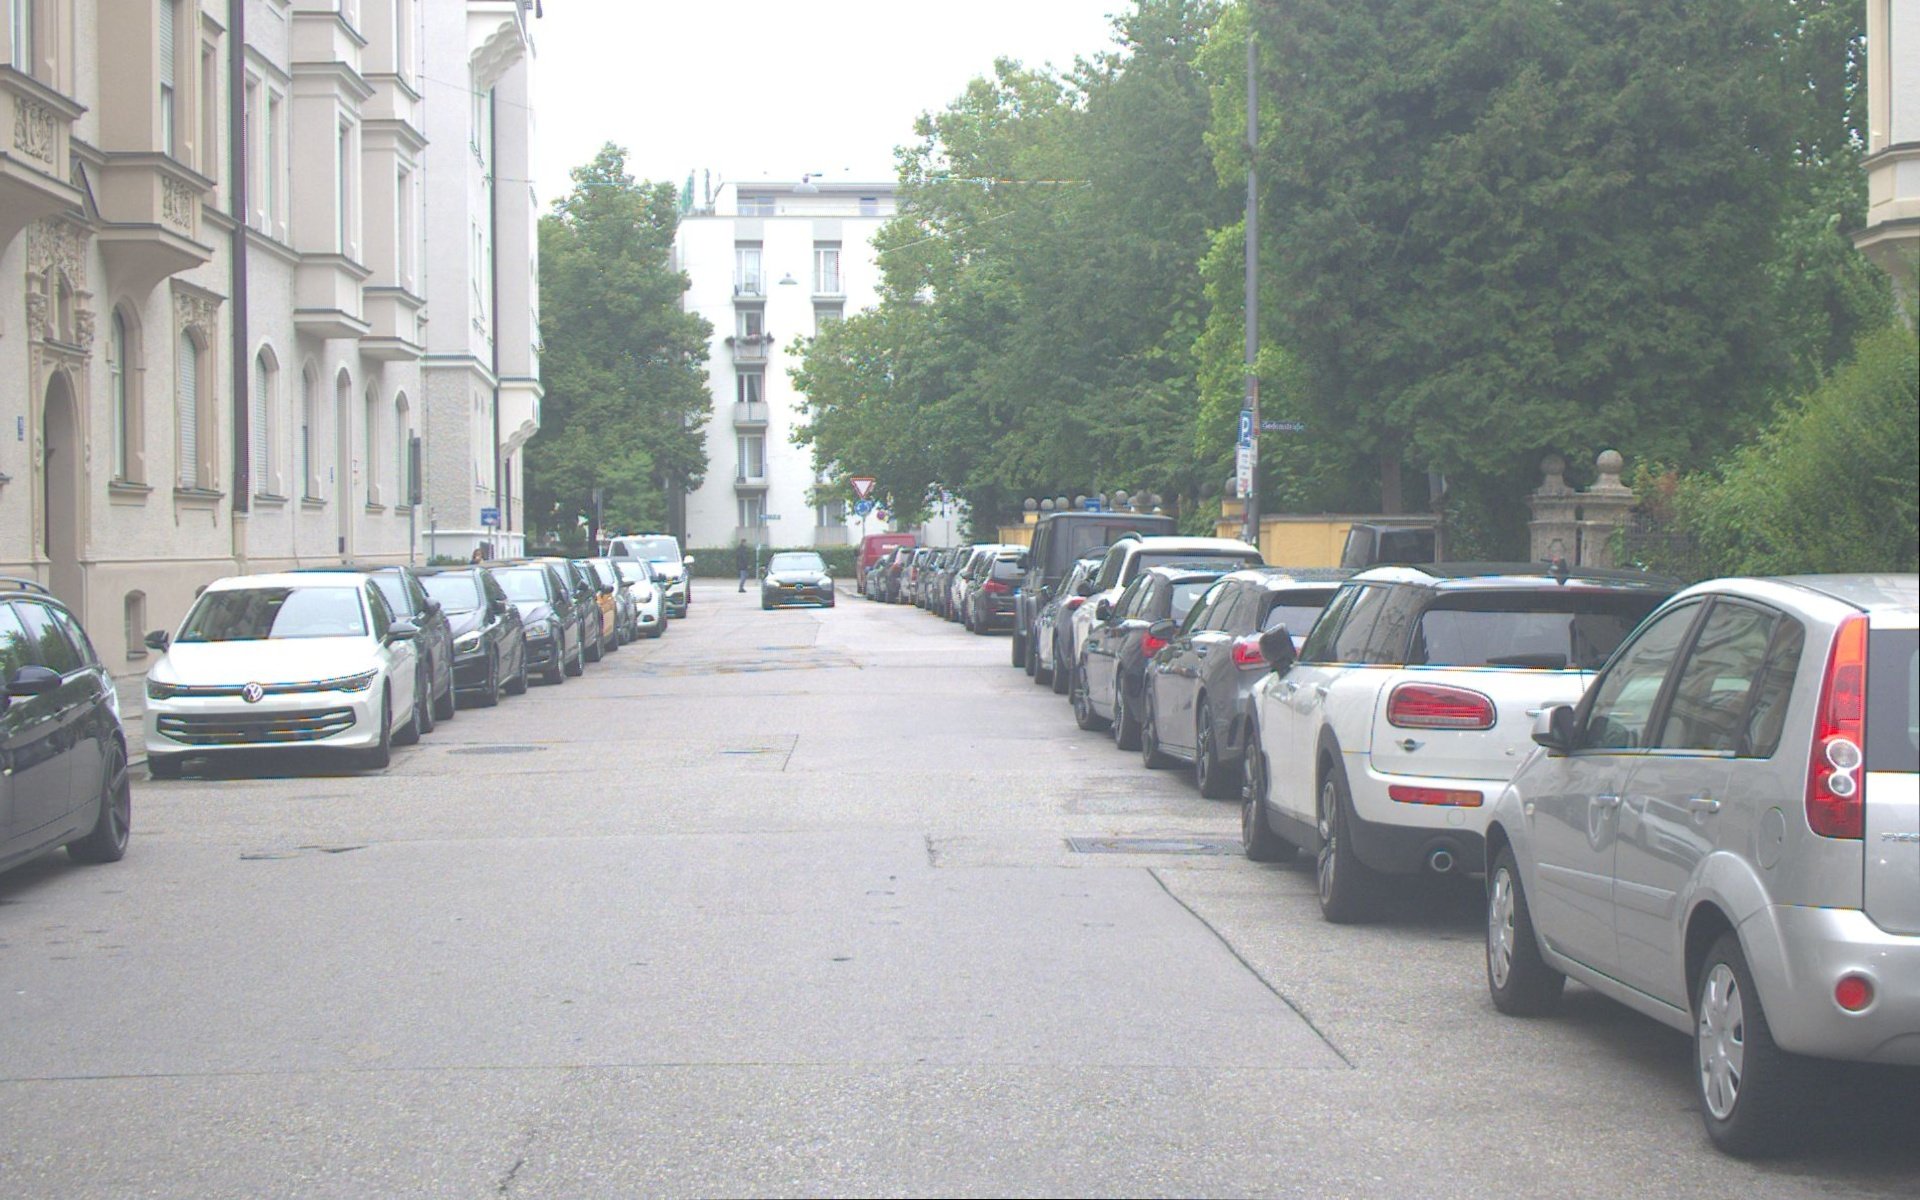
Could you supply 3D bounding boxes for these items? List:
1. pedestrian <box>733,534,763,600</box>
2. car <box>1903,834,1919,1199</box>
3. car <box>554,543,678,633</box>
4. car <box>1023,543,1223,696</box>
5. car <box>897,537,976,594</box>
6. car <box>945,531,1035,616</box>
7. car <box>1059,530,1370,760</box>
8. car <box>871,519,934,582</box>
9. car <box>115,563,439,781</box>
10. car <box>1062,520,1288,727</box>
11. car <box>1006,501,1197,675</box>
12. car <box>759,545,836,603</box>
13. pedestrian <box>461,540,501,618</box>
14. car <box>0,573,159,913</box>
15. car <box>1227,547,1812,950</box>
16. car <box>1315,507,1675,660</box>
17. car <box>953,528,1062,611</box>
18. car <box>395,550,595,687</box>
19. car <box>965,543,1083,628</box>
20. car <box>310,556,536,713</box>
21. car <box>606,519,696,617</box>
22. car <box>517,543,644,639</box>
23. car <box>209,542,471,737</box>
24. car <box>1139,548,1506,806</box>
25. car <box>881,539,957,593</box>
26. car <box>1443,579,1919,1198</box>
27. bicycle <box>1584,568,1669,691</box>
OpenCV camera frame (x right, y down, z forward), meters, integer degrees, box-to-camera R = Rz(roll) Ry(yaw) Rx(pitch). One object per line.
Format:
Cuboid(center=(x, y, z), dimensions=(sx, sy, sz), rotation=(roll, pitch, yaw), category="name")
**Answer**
Cuboid(center=(-7.350, -1.147, 119.303), dimensions=(0.841, 2.277, 0.843), rotation=(-1, 1, -18), category="pedestrian")
Cuboid(center=(2.711, 0.726, 4.336), dimensions=(1.822, 1.564, 4.400), rotation=(2, 1, 0), category="car")
Cuboid(center=(-6.202, -0.249, 62.363), dimensions=(1.836, 1.433, 4.275), rotation=(-3, 1, -1), category="car")
Cuboid(center=(1.709, 0.182, 37.191), dimensions=(1.722, 1.513, 3.631), rotation=(2, 1, -3), category="car")
Cuboid(center=(-0.668, -0.956, 94.580), dimensions=(1.838, 1.513, 3.948), rotation=(1, 1, -5), category="car")
Cuboid(center=(0.591, -0.539, 70.076), dimensions=(1.513, 1.656, 3.675), rotation=(1, 1, -4), category="car")
Cuboid(center=(1.933, 0.286, 27.406), dimensions=(1.750, 1.605, 4.425), rotation=(1, 2, -5), category="car")
Cuboid(center=(-1.839, -1.605, 110.641), dimensions=(1.836, 1.920, 4.005), rotation=(2, 1, 0), category="car")
Cuboid(center=(-5.199, 0.492, 26.692), dimensions=(1.836, 1.429, 4.245), rotation=(-2, 2, -3), category="car")
Cuboid(center=(1.959, 0.186, 32.488), dimensions=(1.723, 1.763, 4.413), rotation=(2, 1, -1), category="car")
Cuboid(center=(1.670, -0.206, 42.258), dimensions=(1.950, 1.947, 4.666), rotation=(1, 2, -2), category="car")
Cuboid(center=(-4.225, -0.695, 88.915), dimensions=(1.874, 1.423, 4.410), rotation=(0, 1, -4), category="car")
Cuboid(center=(-10.278, -0.458, 73.760), dimensions=(0.792, 1.673, 0.700), rotation=(-1, 1, -11), category="pedestrian")
Cuboid(center=(-5.091, 0.620, 16.104), dimensions=(1.787, 1.407, 4.368), rotation=(0, 1, -2), category="car")
Cuboid(center=(2.284, 0.534, 15.086), dimensions=(1.784, 1.499, 4.065), rotation=(1, 1, -2), category="car")
Cuboid(center=(7.314, -0.257, 47.221), dimensions=(4.528, 1.943, 1.904), rotation=(-1, 3, -8), category="car")
Cuboid(center=(0.880, -0.580, 65.351), dimensions=(1.652, 1.513, 3.796), rotation=(1, 1, -5), category="car")
Cuboid(center=(-5.550, 0.181, 41.500), dimensions=(1.836, 1.431, 4.245), rotation=(-3, 1, -1), category="car")
Cuboid(center=(1.081, -0.271, 60.300), dimensions=(1.838, 1.408, 4.343), rotation=(1, 1, -2), category="car")
Cuboid(center=(-5.576, 0.313, 36.204), dimensions=(1.833, 1.429, 4.554), rotation=(-2, 2, -3), category="car")
Cuboid(center=(-7.238, -0.785, 80.850), dimensions=(1.886, 2.120, 4.707), rotation=(-3, 1, -4), category="car")
Cuboid(center=(-6.309, -0.174, 57.465), dimensions=(1.726, 1.494, 3.930), rotation=(-2, 1, -1), category="car")
Cuboid(center=(-5.563, 0.296, 31.329), dimensions=(1.770, 1.513, 4.386), rotation=(-3, 2, -3), category="car")
Cuboid(center=(2.249, 0.427, 22.318), dimensions=(1.683, 1.499, 4.019), rotation=(1, 1, -4), category="car")
Cuboid(center=(-1.197, -0.976, 98.748), dimensions=(1.838, 1.513, 3.948), rotation=(1, 1, -5), category="car")
Cuboid(center=(2.545, 0.674, 9.782), dimensions=(1.754, 1.401, 3.452), rotation=(1, 1, -2), category="car")
Cuboid(center=(6.086, 0.256, 31.444), dimensions=(0.454, 1.095, 1.314), rotation=(0, 1, -3), category="bicycle")
